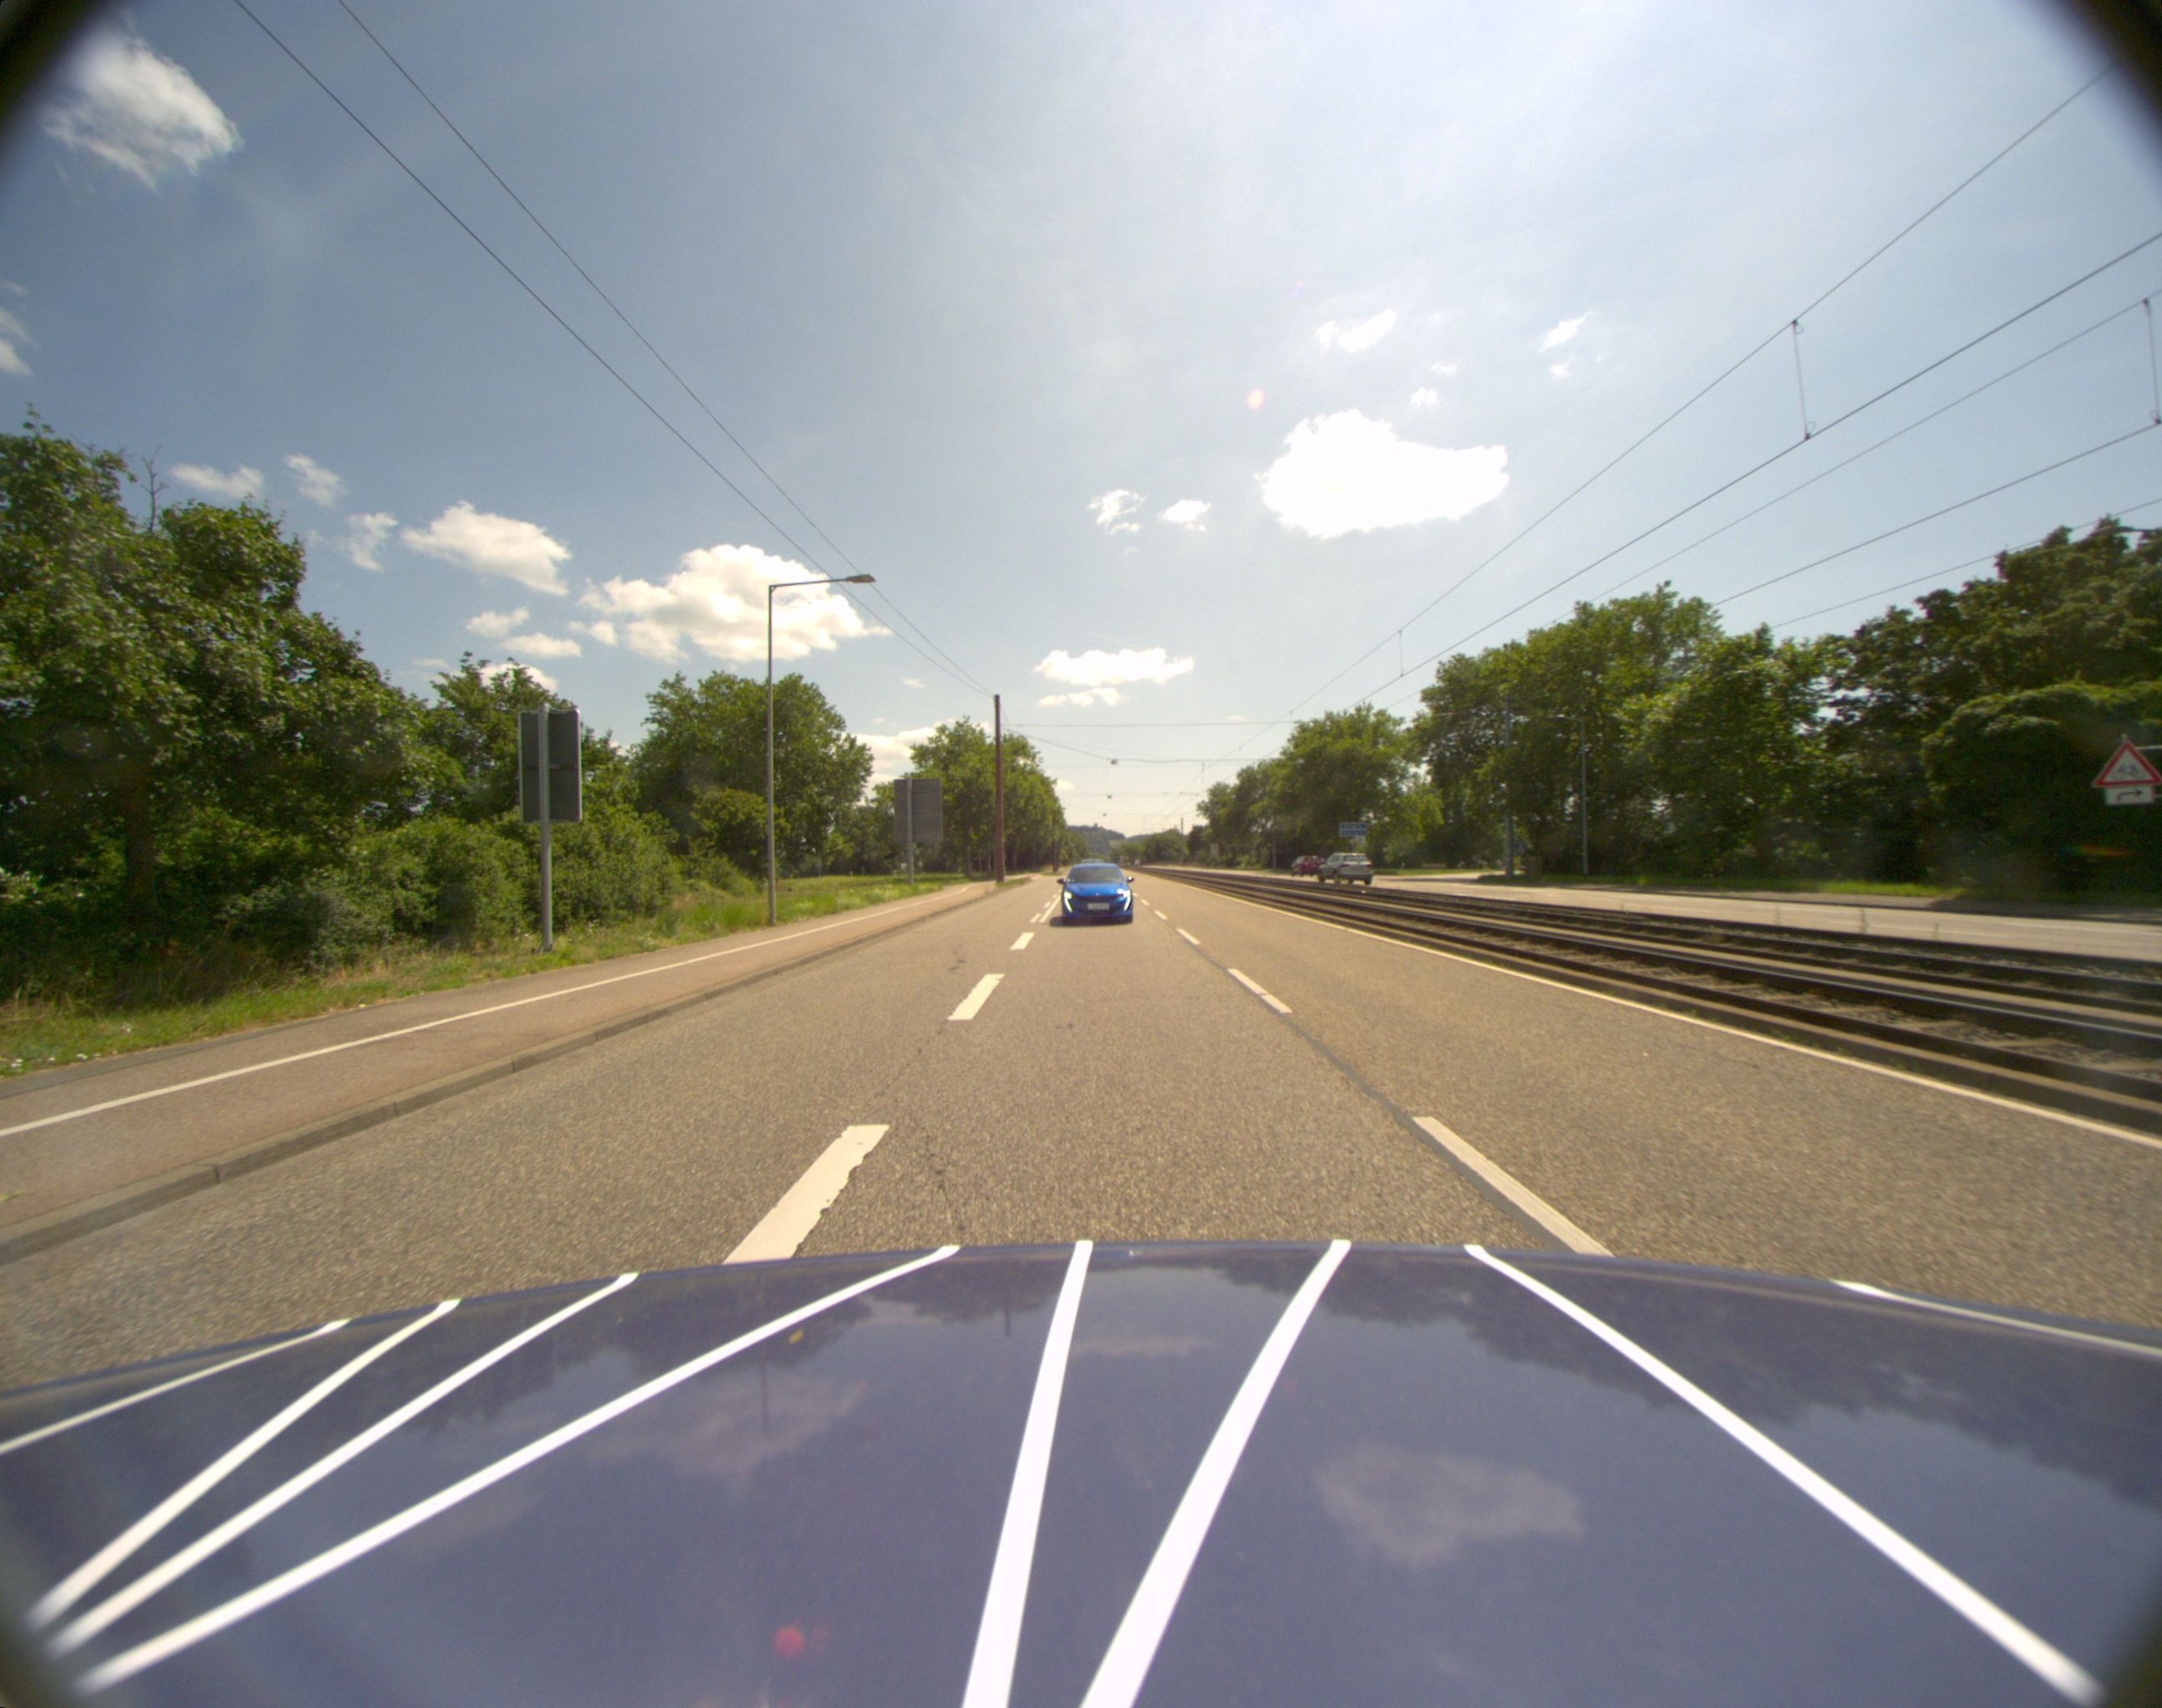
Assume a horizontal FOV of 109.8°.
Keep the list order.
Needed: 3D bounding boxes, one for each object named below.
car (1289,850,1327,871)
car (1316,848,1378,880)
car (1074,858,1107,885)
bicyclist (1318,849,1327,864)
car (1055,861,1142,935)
[{"bbox_3d":[18.002,0.481,60.452,1.806,1.616,4.211,0,0,1],"label":"car"},{"bbox_3d":[14.085,0.513,40.508,1.806,1.616,4.494,0,0,1],"label":"car"},{"bbox_3d":[0.558,0.965,44.231,1.771,1.422,4.000,-2,0,1],"label":"car"},{"bbox_3d":[25.259,0.275,79.511,0.623,1.509,1.160,-1,0,0],"label":"bicyclist"},{"bbox_3d":[0.404,0.927,18.009,1.771,1.463,4.467,-2,0,1],"label":"car"}]
